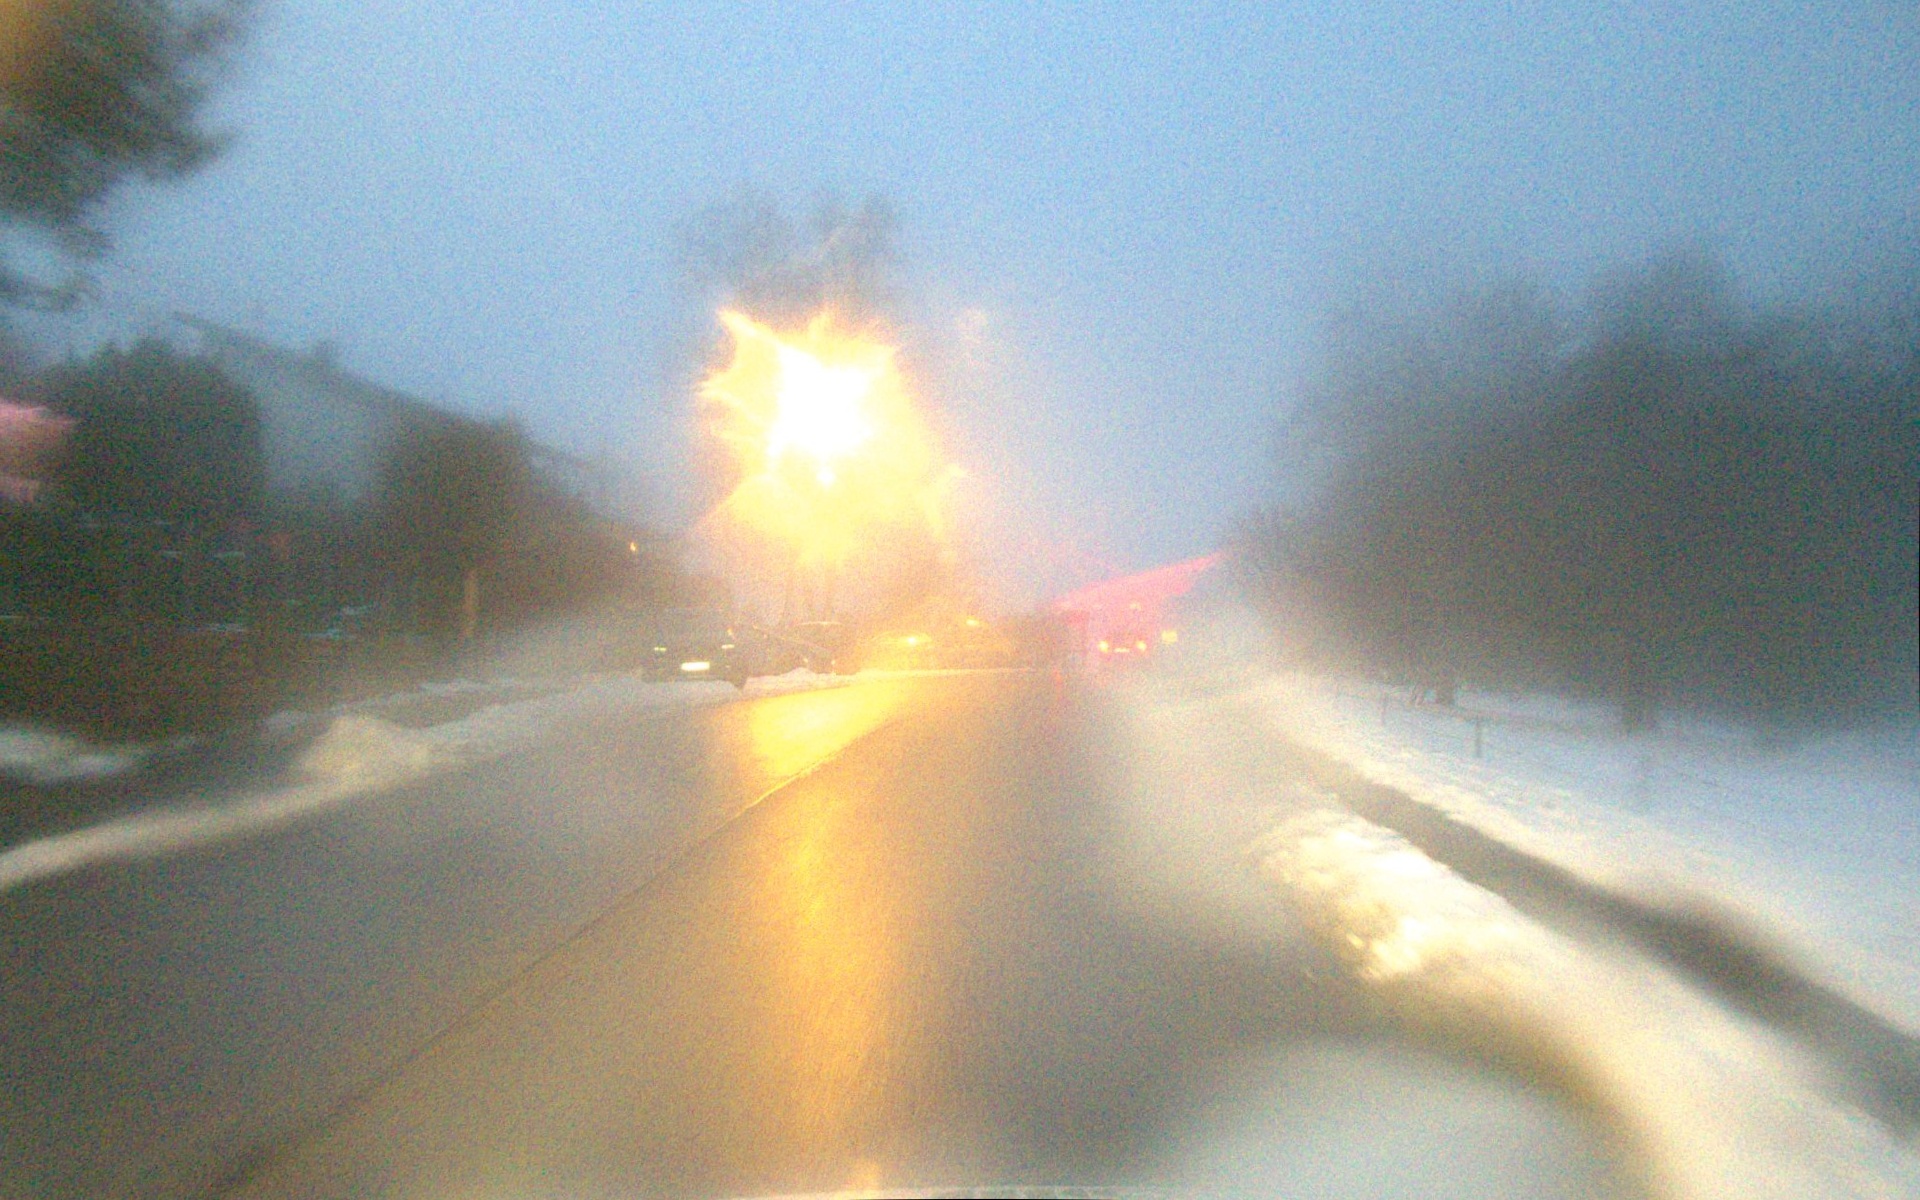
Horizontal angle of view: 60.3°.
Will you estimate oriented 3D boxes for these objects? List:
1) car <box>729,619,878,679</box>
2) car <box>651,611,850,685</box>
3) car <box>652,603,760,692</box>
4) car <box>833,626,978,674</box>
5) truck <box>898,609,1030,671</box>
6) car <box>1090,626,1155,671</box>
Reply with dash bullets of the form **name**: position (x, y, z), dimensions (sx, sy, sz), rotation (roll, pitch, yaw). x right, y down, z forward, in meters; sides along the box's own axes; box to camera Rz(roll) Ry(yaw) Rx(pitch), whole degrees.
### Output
- **car**: position (-4.248, 1.348, 45.225), dimensions (3.773, 1.497, 1.939), rotation (-2, -2, 3)
- **car**: position (-4.933, 1.141, 39.439), dimensions (4.435, 1.594, 2.110), rotation (-2, -2, -1)
- **car**: position (-5.225, 0.991, 33.669), dimensions (1.958, 1.594, 4.984), rotation (-2, -2, -10)
- **car**: position (-1.888, 1.757, 58.372), dimensions (4.783, 1.511, 2.125), rotation (-2, -2, 7)
- **truck**: position (0.206, 1.658, 67.982), dimensions (5.149, 2.343, 2.001), rotation (-2, -2, 7)
- **car**: position (5.550, 1.631, 56.168), dimensions (1.951, 1.445, 4.003), rotation (1, -1, 9)
